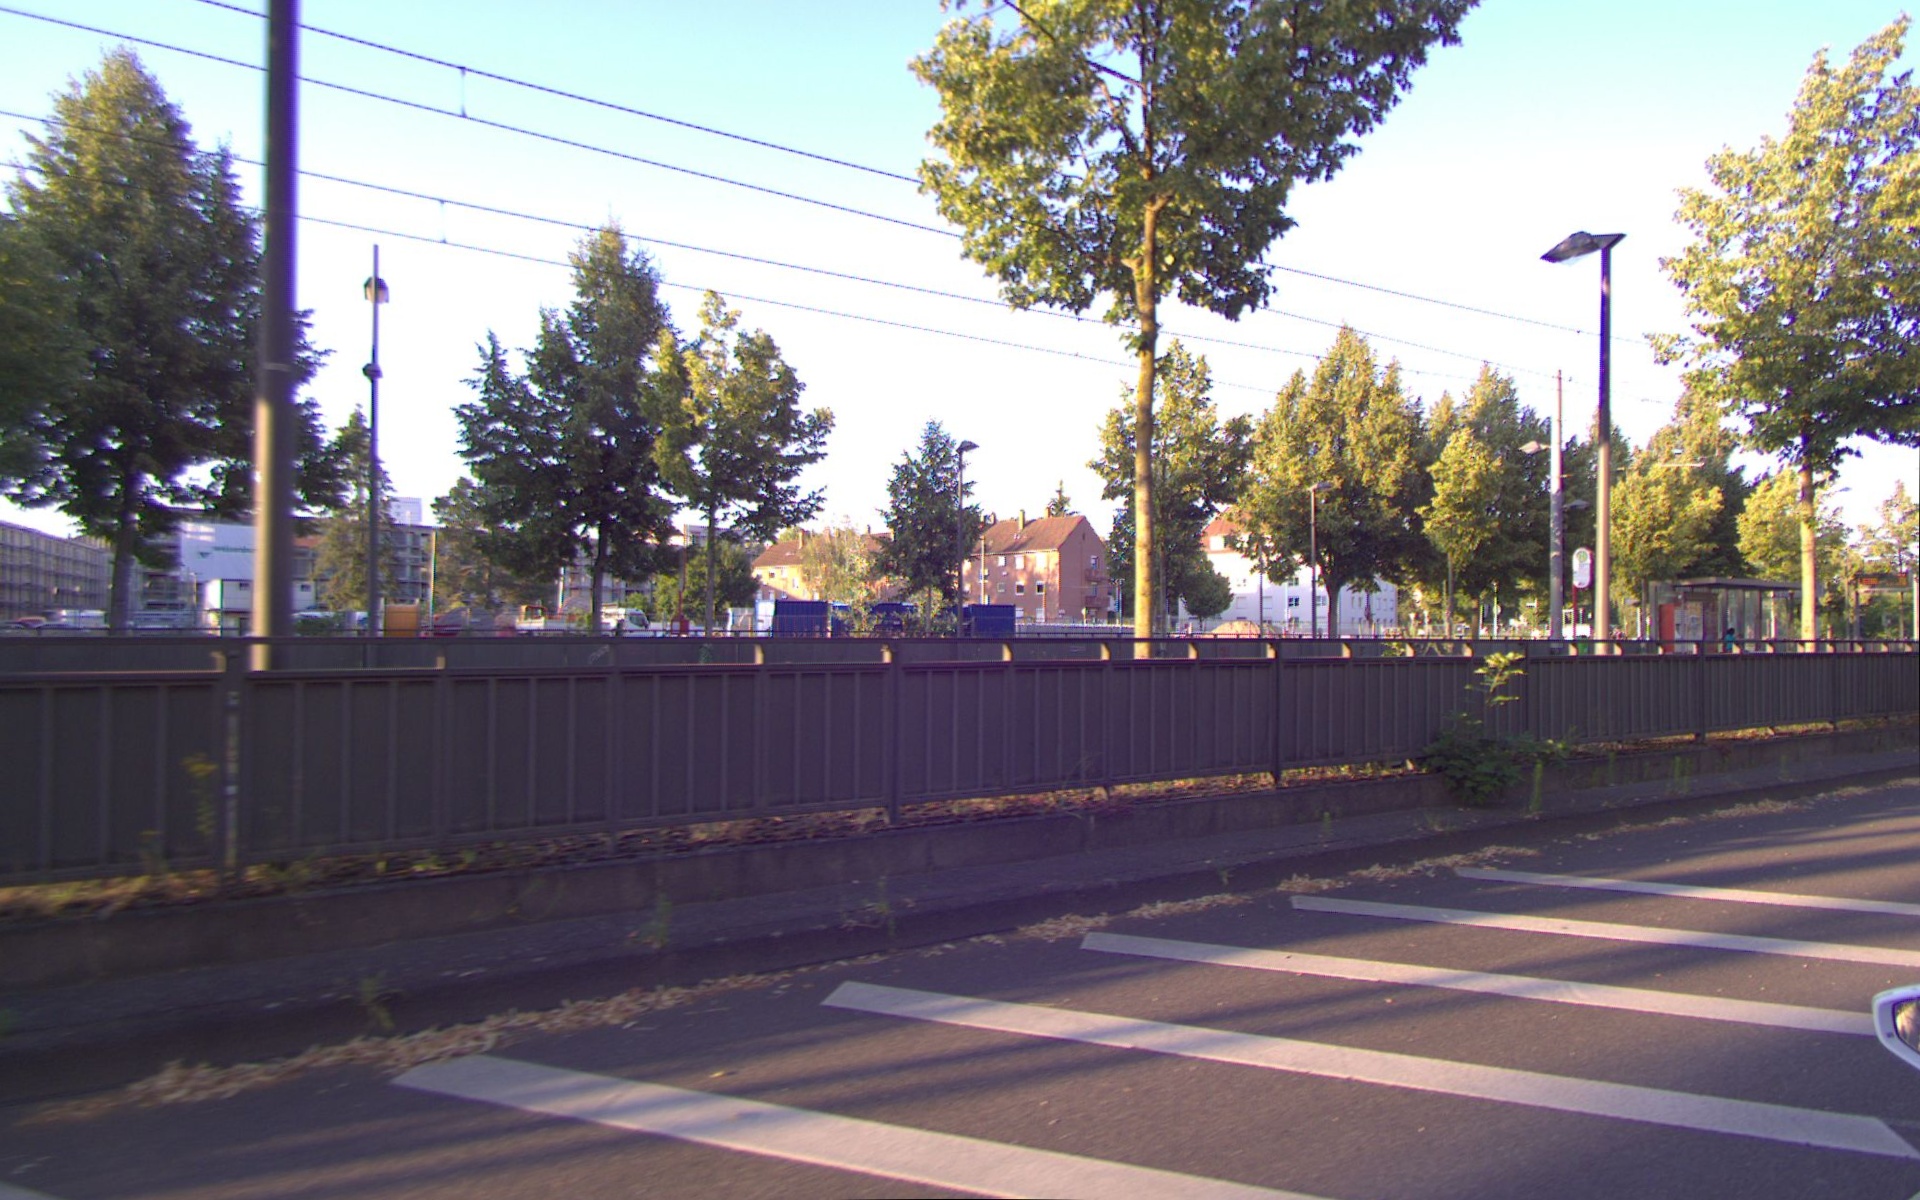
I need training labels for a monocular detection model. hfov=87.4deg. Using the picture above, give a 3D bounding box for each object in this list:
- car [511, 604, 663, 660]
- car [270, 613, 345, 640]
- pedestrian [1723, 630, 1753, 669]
[{"bbox_3d":[-16.163,1.371,43.853,2.384,2.254,5.897,0,-2,36],"label":"car"},{"bbox_3d":[-50.107,2.039,77.172,4.760,2.040,1.979,1,-2,-37],"label":"car"},{"bbox_3d":[26.686,1.686,34.452,0.737,1.337,0.611,1,-1,-33],"label":"pedestrian"}]
